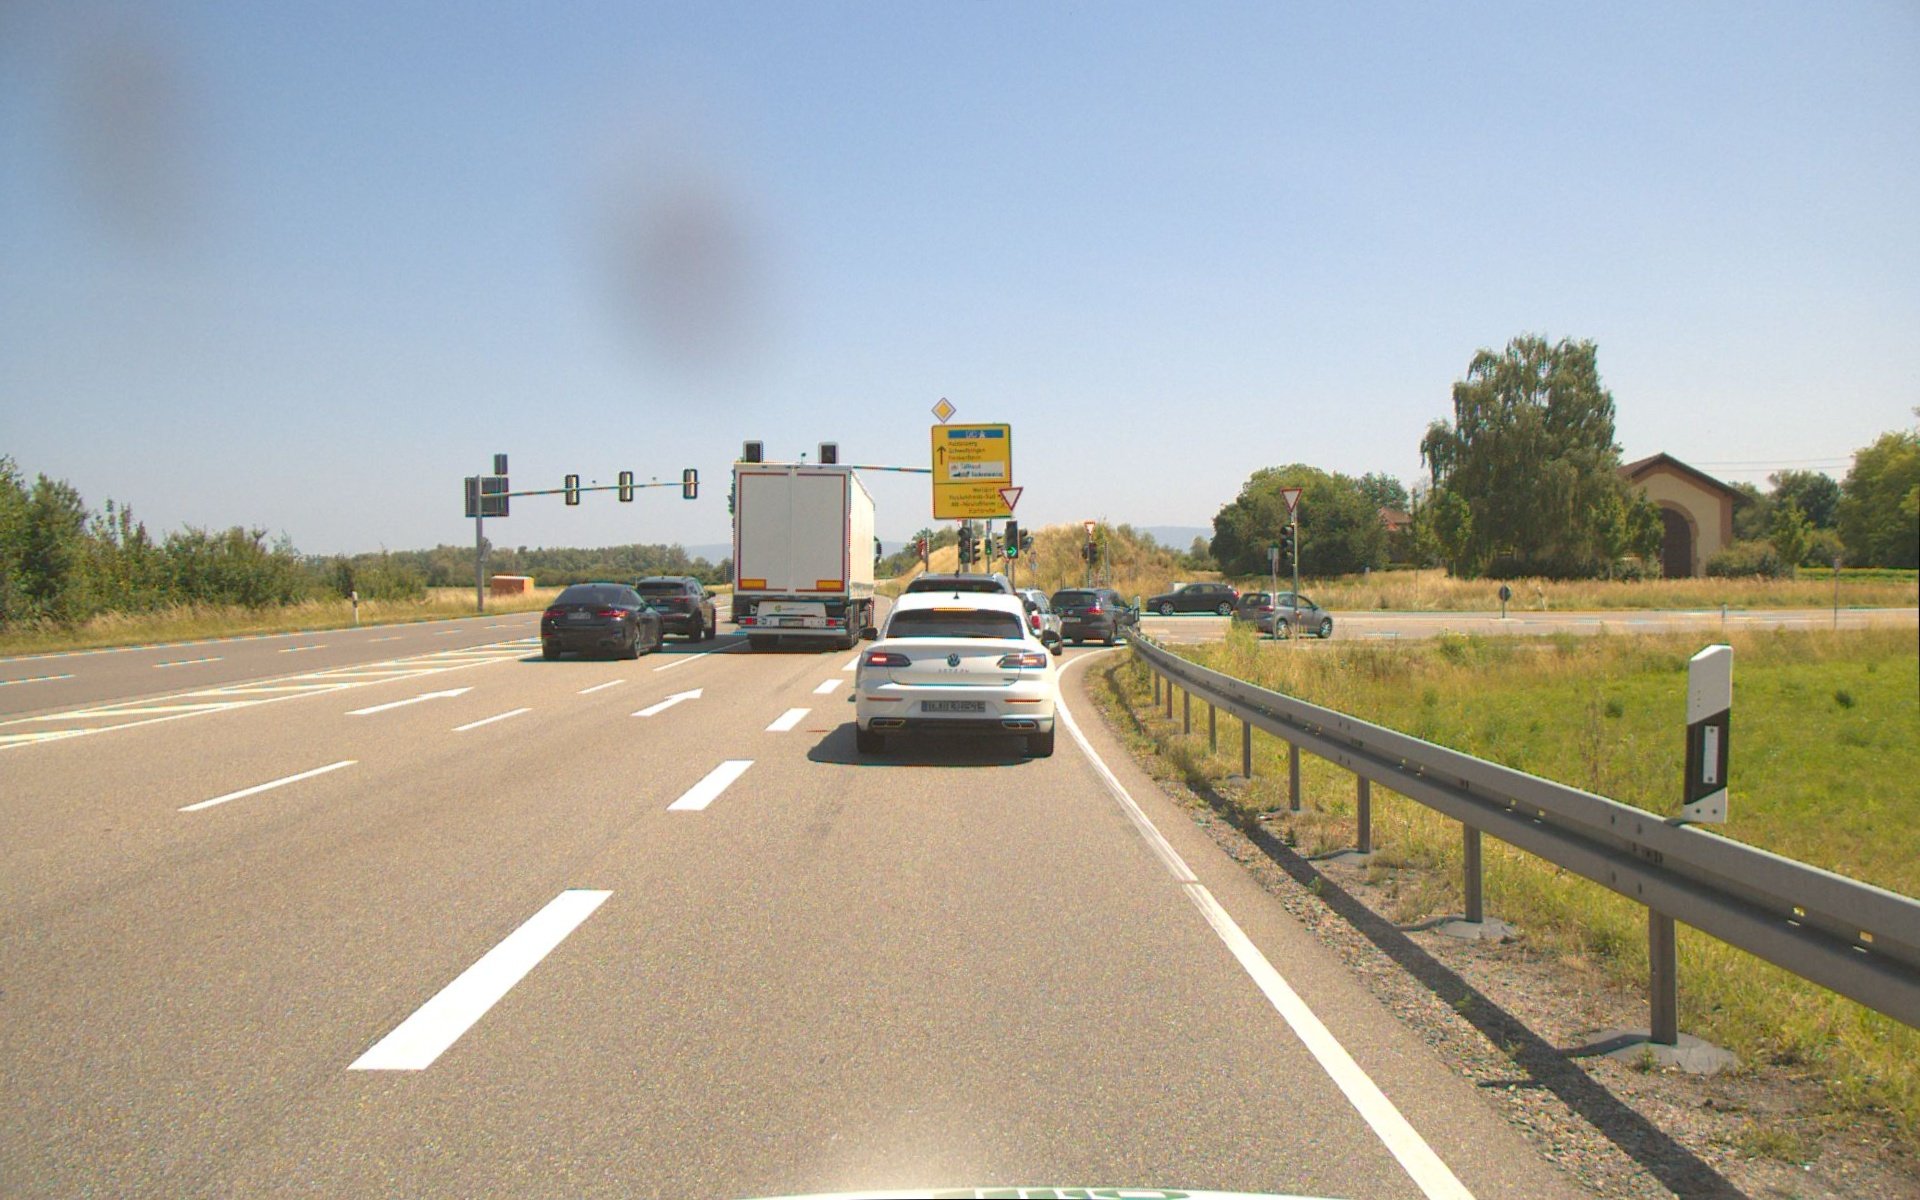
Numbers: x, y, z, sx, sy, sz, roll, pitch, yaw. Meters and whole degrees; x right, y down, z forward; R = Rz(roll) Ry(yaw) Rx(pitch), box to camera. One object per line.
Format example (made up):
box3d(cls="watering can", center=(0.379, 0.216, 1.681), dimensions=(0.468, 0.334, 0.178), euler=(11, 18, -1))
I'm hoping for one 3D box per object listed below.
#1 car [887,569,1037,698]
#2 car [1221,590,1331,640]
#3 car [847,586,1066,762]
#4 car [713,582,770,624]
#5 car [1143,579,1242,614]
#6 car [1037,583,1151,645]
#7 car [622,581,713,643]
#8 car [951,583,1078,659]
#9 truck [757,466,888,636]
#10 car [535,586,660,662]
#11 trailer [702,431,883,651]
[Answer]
box3d(cls="car", center=(0.127, 0.423, 23.512), dimensions=(1.894, 1.644, 4.380), euler=(0, 0, 3))
box3d(cls="car", center=(10.240, 0.464, 53.400), dimensions=(1.773, 1.548, 3.859), euler=(0, 0, 42))
box3d(cls="car", center=(-0.056, 0.612, 16.075), dimensions=(1.810, 1.458, 4.607), euler=(0, 0, -1))
box3d(cls="car", center=(-8.232, 0.099, 62.674), dimensions=(1.773, 1.519, 4.019), euler=(1, 0, -3))
box3d(cls="car", center=(10.305, -0.155, 73.415), dimensions=(4.171, 1.392, 1.777), euler=(-1, 2, 2))
box3d(cls="car", center=(3.522, 0.343, 42.749), dimensions=(1.763, 1.502, 4.414), euler=(0, 0, 21))
box3d(cls="car", center=(-7.485, 0.284, 42.638), dimensions=(1.773, 1.519, 4.019), euler=(1, 0, -3))
box3d(cls="car", center=(1.189, 0.396, 34.057), dimensions=(1.761, 1.454, 4.096), euler=(0, 0, 14))
box3d(cls="truck", center=(-3.901, -1.359, 48.498), dimensions=(3.312, 4.622, 6.371), euler=(1, 0, -1))
box3d(cls="car", center=(-7.222, 0.437, 33.323), dimensions=(1.773, 1.423, 4.019), euler=(1, 0, -3))
box3d(cls="trailer", center=(-3.840, -1.290, 41.473), dimensions=(3.312, 4.622, 12.870), euler=(1, 0, -1))
